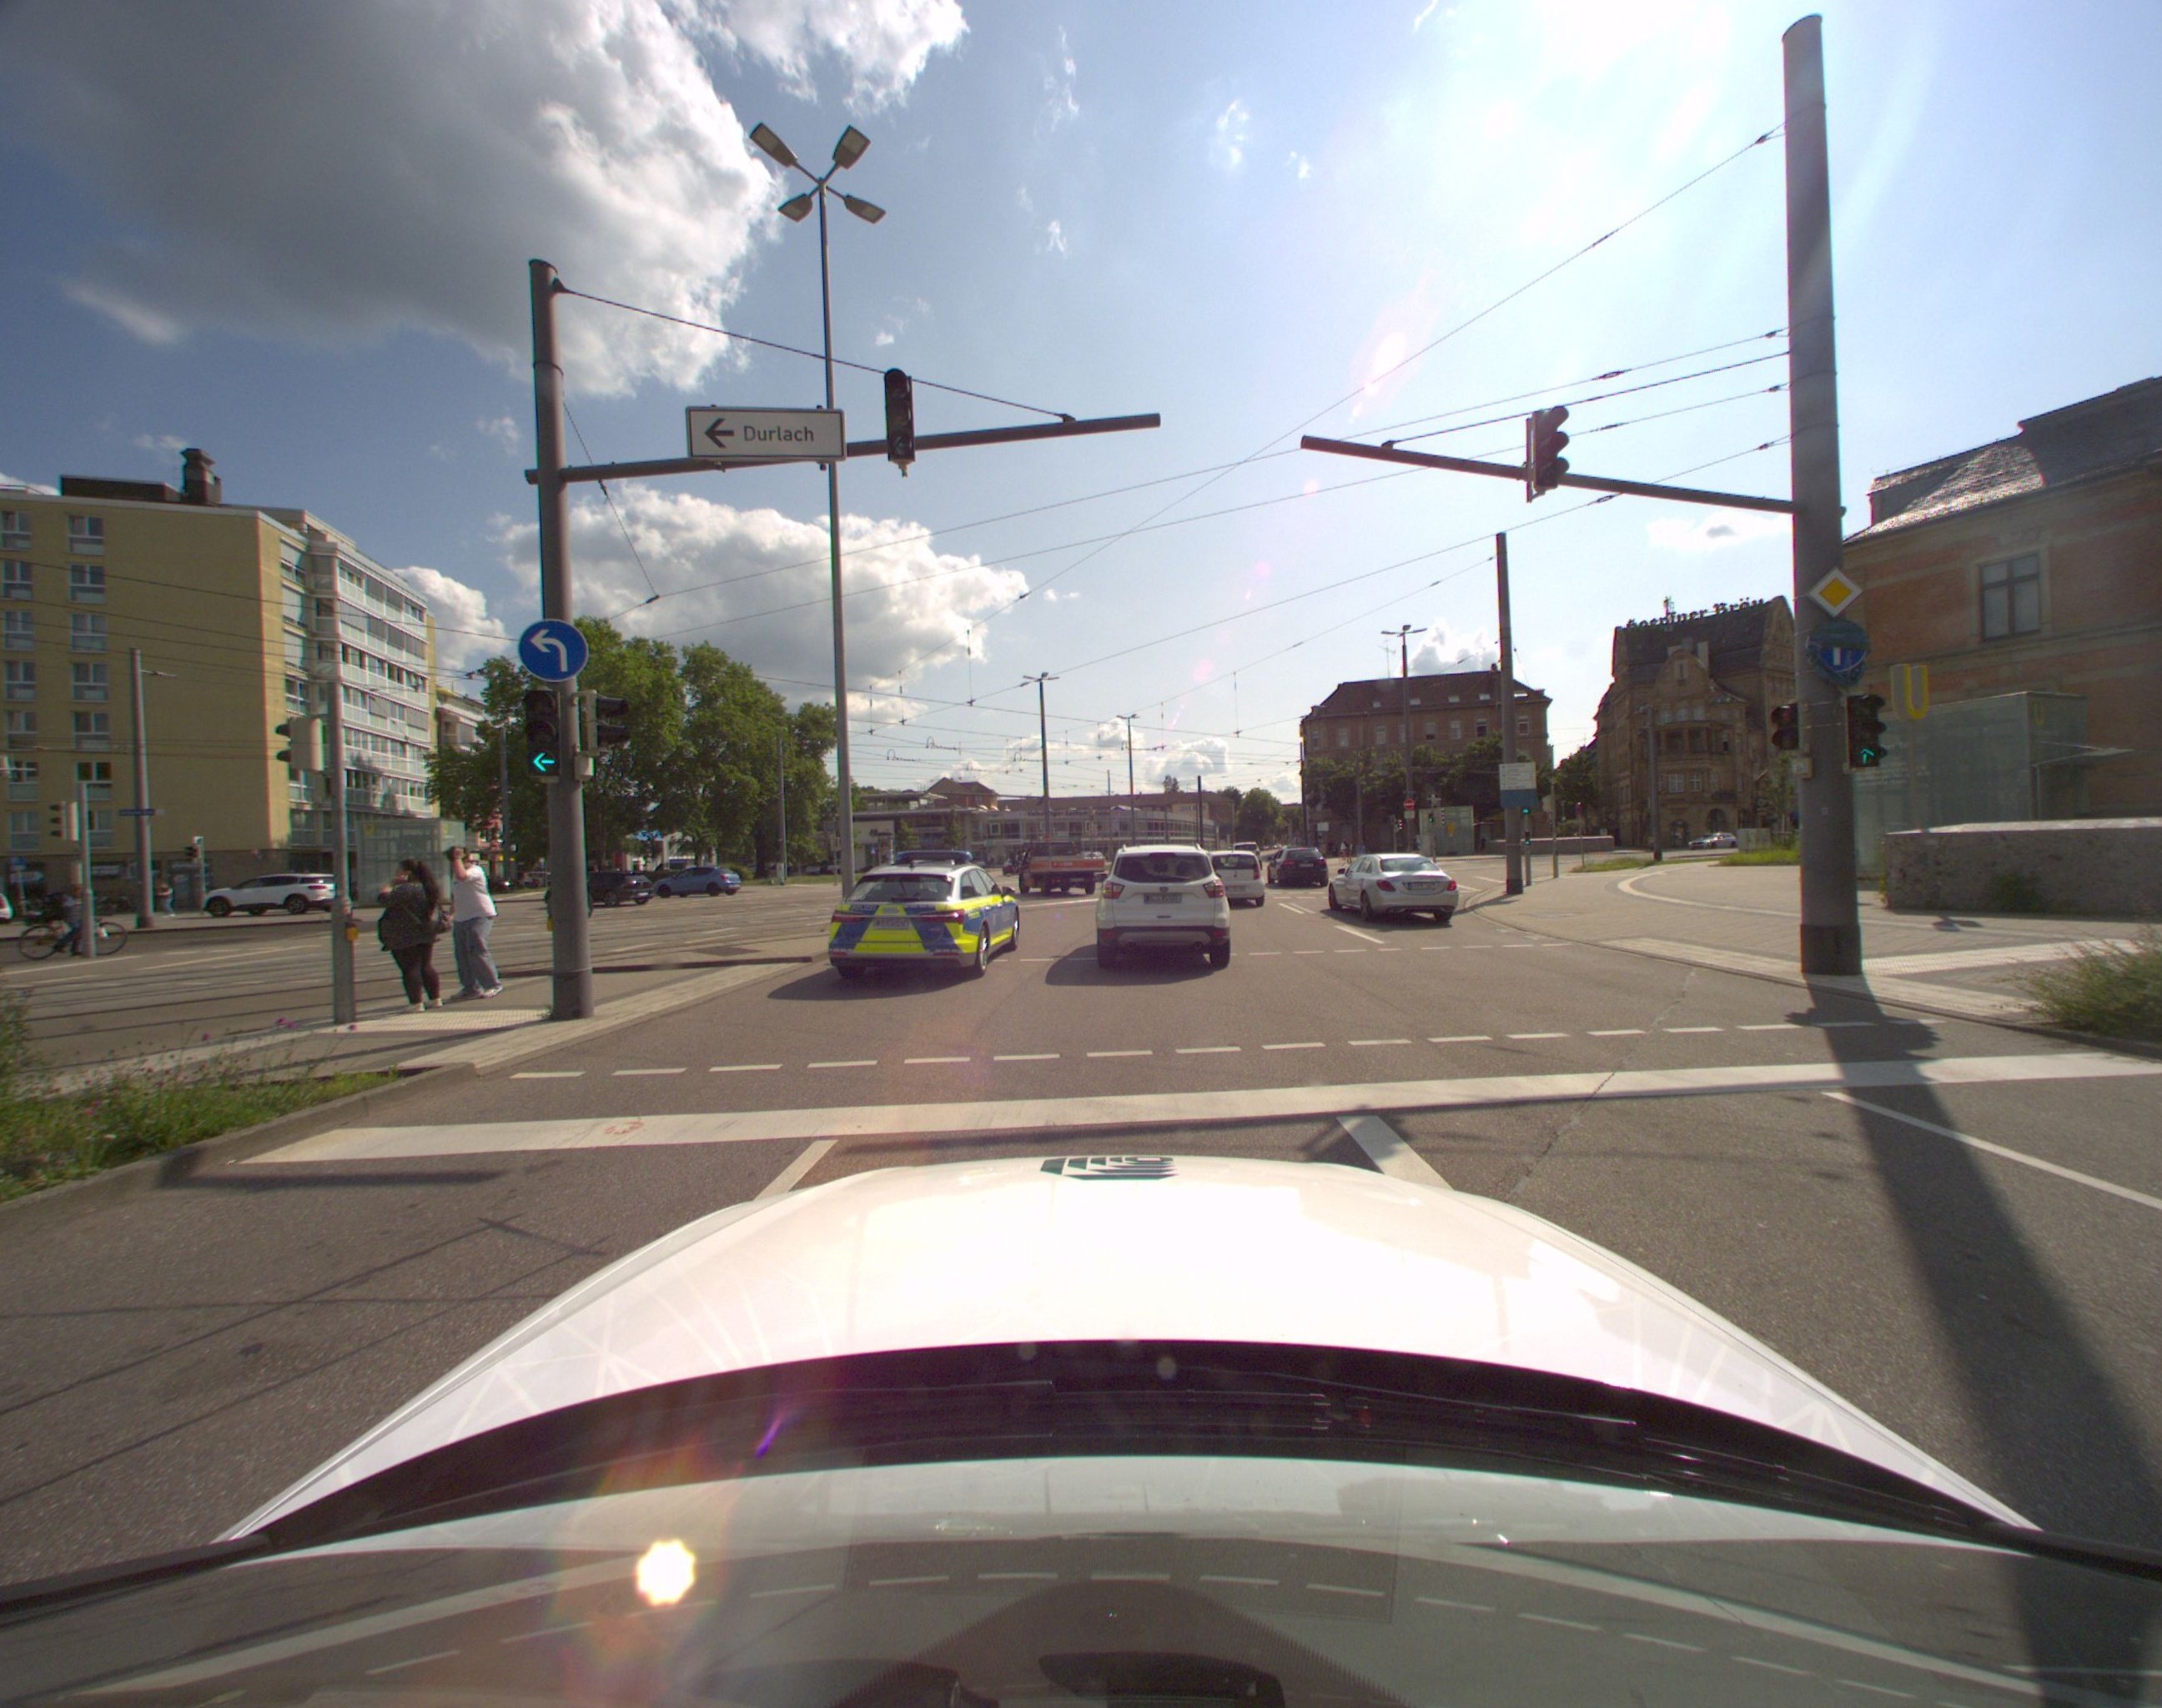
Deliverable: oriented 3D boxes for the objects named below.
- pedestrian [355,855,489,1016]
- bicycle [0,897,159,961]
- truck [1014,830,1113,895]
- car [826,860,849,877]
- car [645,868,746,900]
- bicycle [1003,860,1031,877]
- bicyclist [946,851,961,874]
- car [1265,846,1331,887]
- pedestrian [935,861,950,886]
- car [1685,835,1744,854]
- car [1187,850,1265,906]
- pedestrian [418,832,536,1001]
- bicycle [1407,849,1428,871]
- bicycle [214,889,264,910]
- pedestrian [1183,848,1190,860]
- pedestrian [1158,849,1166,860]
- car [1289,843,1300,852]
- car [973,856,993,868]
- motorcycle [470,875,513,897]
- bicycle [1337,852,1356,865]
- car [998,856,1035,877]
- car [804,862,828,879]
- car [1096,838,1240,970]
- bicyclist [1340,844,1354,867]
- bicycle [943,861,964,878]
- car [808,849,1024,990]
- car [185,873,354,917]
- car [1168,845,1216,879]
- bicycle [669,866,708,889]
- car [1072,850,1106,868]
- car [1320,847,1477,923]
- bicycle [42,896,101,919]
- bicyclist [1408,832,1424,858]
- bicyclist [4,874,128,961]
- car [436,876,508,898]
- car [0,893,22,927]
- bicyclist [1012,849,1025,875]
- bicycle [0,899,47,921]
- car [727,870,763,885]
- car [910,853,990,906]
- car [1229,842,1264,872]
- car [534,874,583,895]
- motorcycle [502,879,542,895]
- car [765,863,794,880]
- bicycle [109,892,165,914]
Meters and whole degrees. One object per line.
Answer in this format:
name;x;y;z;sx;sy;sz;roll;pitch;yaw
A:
pedestrian;-7.184;0.860;8.918;0.846;1.648;0.691;-2;-1;-4
bicycle;-21.643;1.601;17.508;2.290;1.188;0.993;-3;-1;-6
truck;-0.805;0.316;30.164;2.343;2.155;5.821;-1;-1;-15
car;-30.549;1.848;102.149;1.992;2.013;4.220;-4;-1;-7
car;-18.280;1.398;38.720;3.970;1.376;1.744;-2;-1;3
bicycle;-4.342;0.967;55.183;1.785;1.125;0.635;-2;0;-22
bicyclist;-9.466;0.628;60.421;0.754;1.683;0.763;-3;0;11
car;8.035;0.442;30.443;1.690;1.372;4.139;-2;0;5
pedestrian;-9.591;1.359;56.283;0.927;1.744;0.585;0;-1;-20
car;55.214;-0.816;70.942;4.542;1.430;2.031;-2;0;-22
car;4.056;0.620;23.308;1.643;1.422;4.003;-1;0;2
pedestrian;-7.244;0.728;9.799;0.846;1.917;0.691;-2;-1;-4
bicycle;16.315;0.280;39.500;0.839;0.970;1.971;-3;0;22
bicycle;-47.959;2.582;46.402;1.811;1.104;0.791;-2;0;-23
pedestrian;16.493;0.007;127.158;0.867;1.922;0.882;-1;-1;30
pedestrian;11.988;0.063;121.067;0.866;1.737;0.882;-1;-1;32
car;39.768;-1.190;151.754;1.822;1.652;4.018;-1;-1;17
car;-12.921;1.046;107.313;1.810;1.534;3.922;-4;-1;5
motorcycle;-36.277;1.995;50.103;2.195;1.238;0.909;-2;1;14
bicycle;16.656;0.262;51.125;0.583;0.775;1.620;-2;0;-1
car;-4.700;0.900;59.952;1.726;1.373;3.652;-3;0;11
car;-33.205;2.035;102.235;1.966;1.937;4.220;-4;-1;-7
car;1.146;0.658;12.420;1.821;1.664;3.956;-1;-1;1
bicyclist;16.673;0.086;51.049;0.606;1.451;0.774;-2;0;-2
bicycle;-9.446;1.145;60.454;0.754;1.192;2.157;-3;0;12
car;-2.057;0.752;11.662;1.872;1.568;4.619;-2;0;3
car;-33.065;1.651;33.322;4.521;1.578;2.041;-1;0;-8
car;4.941;0.367;36.658;1.842;1.419;3.681;-1;0;3
bicycle;-25.866;1.560;53.696;2.174;1.414;0.807;-1;0;-19
car;0.765;0.417;74.199;1.884;1.461;3.988;-3;0;19
car;7.051;0.610;18.675;1.923;1.455;4.762;-1;1;2
bicycle;-54.794;2.908;44.221;1.811;1.104;0.791;-2;0;-23
bicyclist;16.229;-0.441;39.463;0.629;1.220;0.929;-4;1;22
bicyclist;-21.767;1.341;17.499;1.295;1.731;0.993;-3;-1;-6
car;-47.186;2.550;63.191;3.999;1.495;1.792;-2;0;-19
car;-50.787;2.633;37.589;3.849;1.496;1.912;-3;-2;31
bicyclist;-4.219;0.508;55.265;0.663;1.738;0.634;-1;0;-26
bicycle;-56.684;2.983;43.389;1.811;1.104;0.791;-2;0;-23
car;-45.183;3.197;109.489;3.968;1.790;1.844;-3;-1;4
car;-4.194;0.753;25.521;1.853;1.474;3.975;-2;0;-18
car;9.752;0.190;48.137;1.826;1.652;4.010;-1;-1;9
car;-39.285;2.287;61.365;1.909;1.413;3.979;-3;-1;-15
motorcycle;-37.645;2.240;54.862;0.801;0.917;2.058;-2;1;34
car;-37.979;2.234;102.622;1.963;1.937;5.061;-4;-1;-4
bicycle;-52.283;2.686;45.119;1.811;1.104;0.791;-2;0;-23
